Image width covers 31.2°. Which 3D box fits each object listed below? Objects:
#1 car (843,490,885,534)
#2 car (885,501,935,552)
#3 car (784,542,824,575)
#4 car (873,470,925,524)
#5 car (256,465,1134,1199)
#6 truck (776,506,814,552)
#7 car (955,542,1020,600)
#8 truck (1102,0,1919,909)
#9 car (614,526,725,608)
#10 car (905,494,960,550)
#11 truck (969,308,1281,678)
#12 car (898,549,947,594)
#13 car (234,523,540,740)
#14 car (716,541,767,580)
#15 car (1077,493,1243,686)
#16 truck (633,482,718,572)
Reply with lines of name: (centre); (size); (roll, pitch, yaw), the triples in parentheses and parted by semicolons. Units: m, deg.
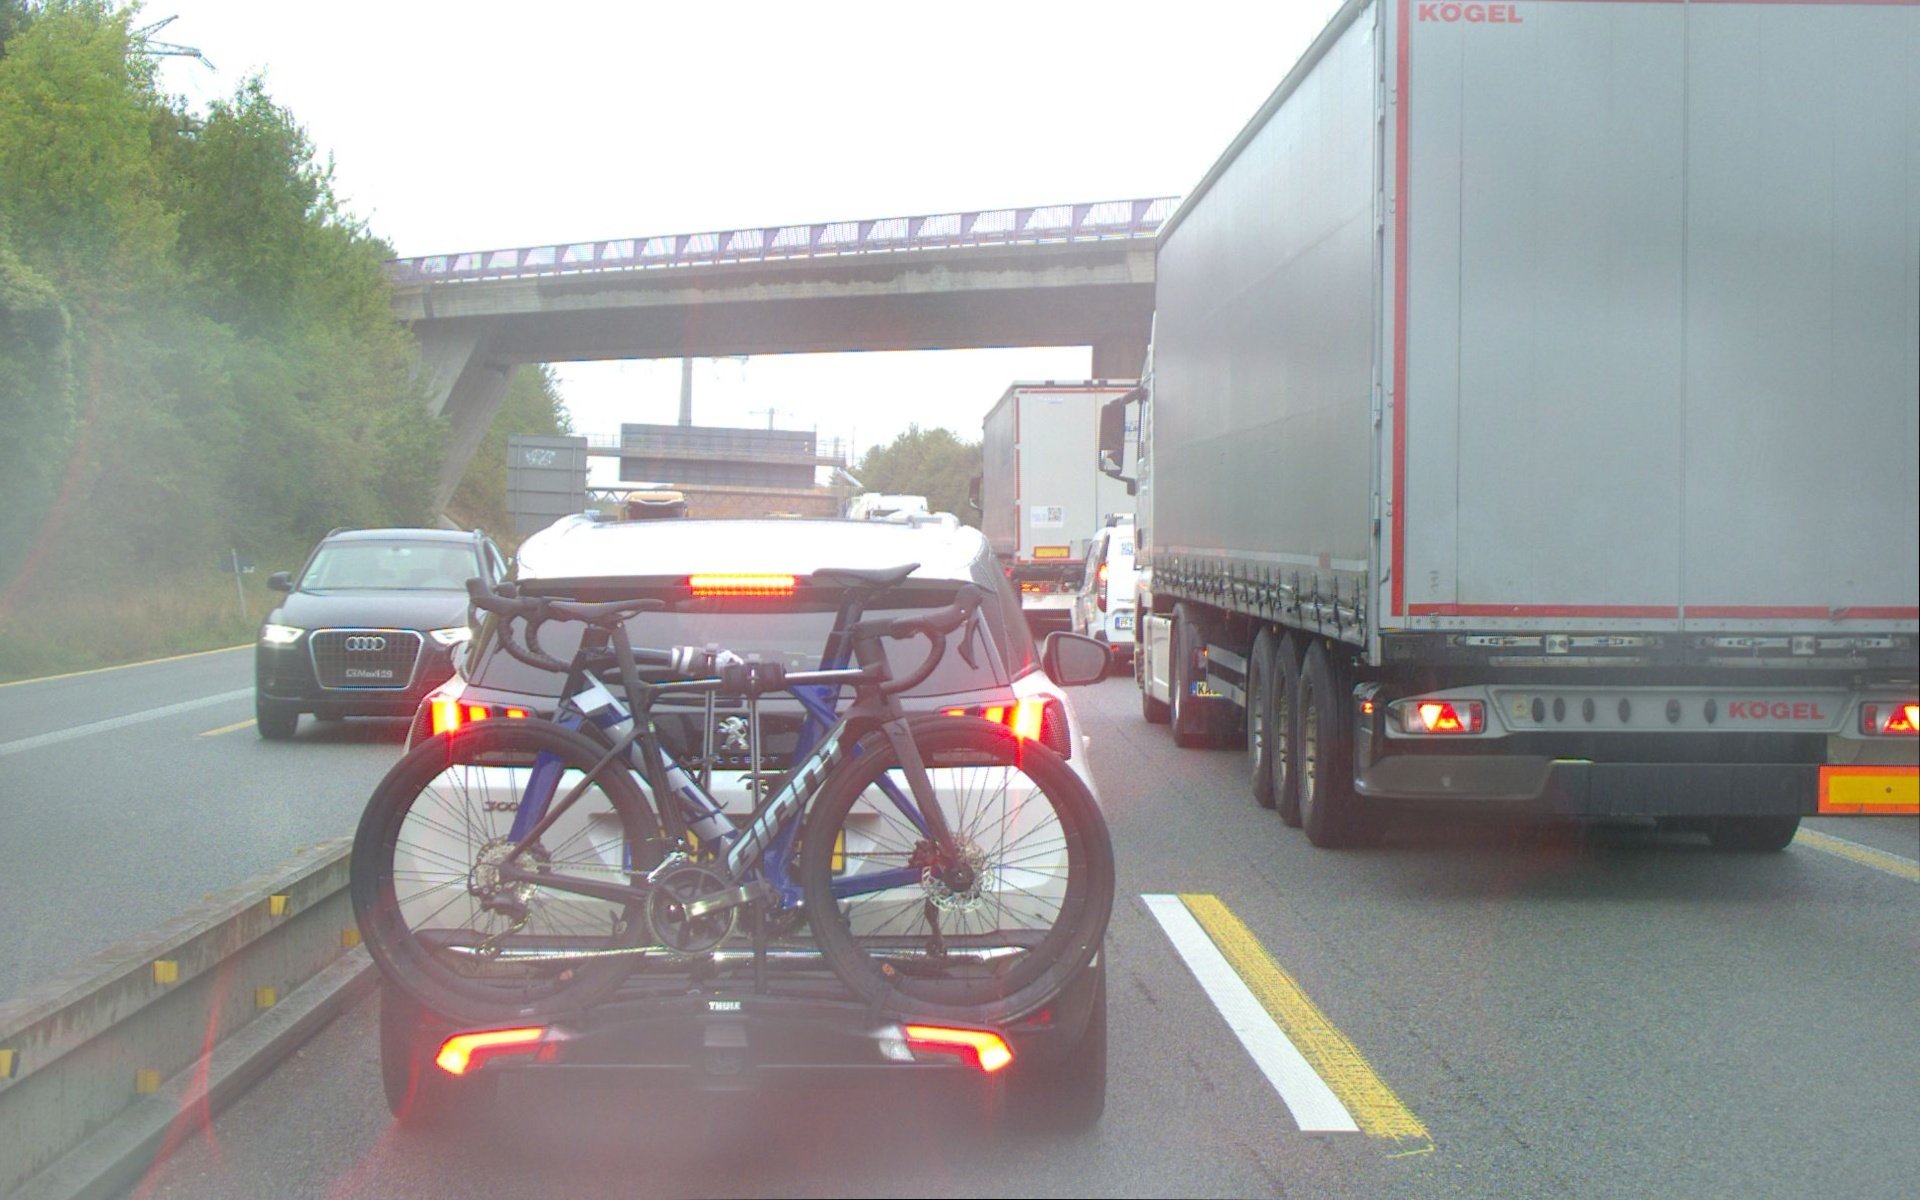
car: (-4.796, -4.422, 172.509); (1.993, 2.119, 4.527); (1, 1, 0)
car: (-2.028, -3.011, 141.201); (1.993, 2.007, 4.000); (1, 1, 0)
car: (-6.816, -1.801, 150.485); (1.686, 1.404, 3.930); (1, 1, -2)
car: (-2.728, -4.587, 154.108); (2.239, 2.299, 4.572); (1, 1, 0)
car: (-0.528, 0.522, 9.455); (1.810, 1.632, 4.635); (1, 1, 1)
truck: (-12.300, -5.250, 256.646); (2.535, 3.341, 12.051); (1, 1, -1)
car: (0.712, -0.764, 90.544); (1.638, 1.492, 3.666); (1, 1, 0)
truck: (3.487, -1.719, 23.729); (3.979, 5.654, 20.377); (1, 1, 0)
car: (-5.466, -0.629, 65.131); (1.810, 1.483, 4.397); (1, 1, -1)
car: (-1.023, -2.914, 128.774); (1.993, 2.007, 4.000); (1, 1, 0)
truck: (2.660, -1.758, 63.236); (4.743, 5.654, 20.376); (1, 1, 1)
car: (-1.258, -0.974, 116.875); (1.638, 1.492, 3.666); (1, 1, 0)
car: (-4.400, 0.209, 26.951); (1.810, 1.554, 3.990); (1, 1, -1)
car: (-8.406, -1.524, 132.595); (1.779, 1.438, 4.329); (1, 1, -2)
car: (2.341, -0.143, 41.112); (1.670, 2.173, 4.535); (1, 1, 0)
truck: (-12.081, -3.040, 146.849); (2.681, 3.644, 12.312); (1, 1, 0)
